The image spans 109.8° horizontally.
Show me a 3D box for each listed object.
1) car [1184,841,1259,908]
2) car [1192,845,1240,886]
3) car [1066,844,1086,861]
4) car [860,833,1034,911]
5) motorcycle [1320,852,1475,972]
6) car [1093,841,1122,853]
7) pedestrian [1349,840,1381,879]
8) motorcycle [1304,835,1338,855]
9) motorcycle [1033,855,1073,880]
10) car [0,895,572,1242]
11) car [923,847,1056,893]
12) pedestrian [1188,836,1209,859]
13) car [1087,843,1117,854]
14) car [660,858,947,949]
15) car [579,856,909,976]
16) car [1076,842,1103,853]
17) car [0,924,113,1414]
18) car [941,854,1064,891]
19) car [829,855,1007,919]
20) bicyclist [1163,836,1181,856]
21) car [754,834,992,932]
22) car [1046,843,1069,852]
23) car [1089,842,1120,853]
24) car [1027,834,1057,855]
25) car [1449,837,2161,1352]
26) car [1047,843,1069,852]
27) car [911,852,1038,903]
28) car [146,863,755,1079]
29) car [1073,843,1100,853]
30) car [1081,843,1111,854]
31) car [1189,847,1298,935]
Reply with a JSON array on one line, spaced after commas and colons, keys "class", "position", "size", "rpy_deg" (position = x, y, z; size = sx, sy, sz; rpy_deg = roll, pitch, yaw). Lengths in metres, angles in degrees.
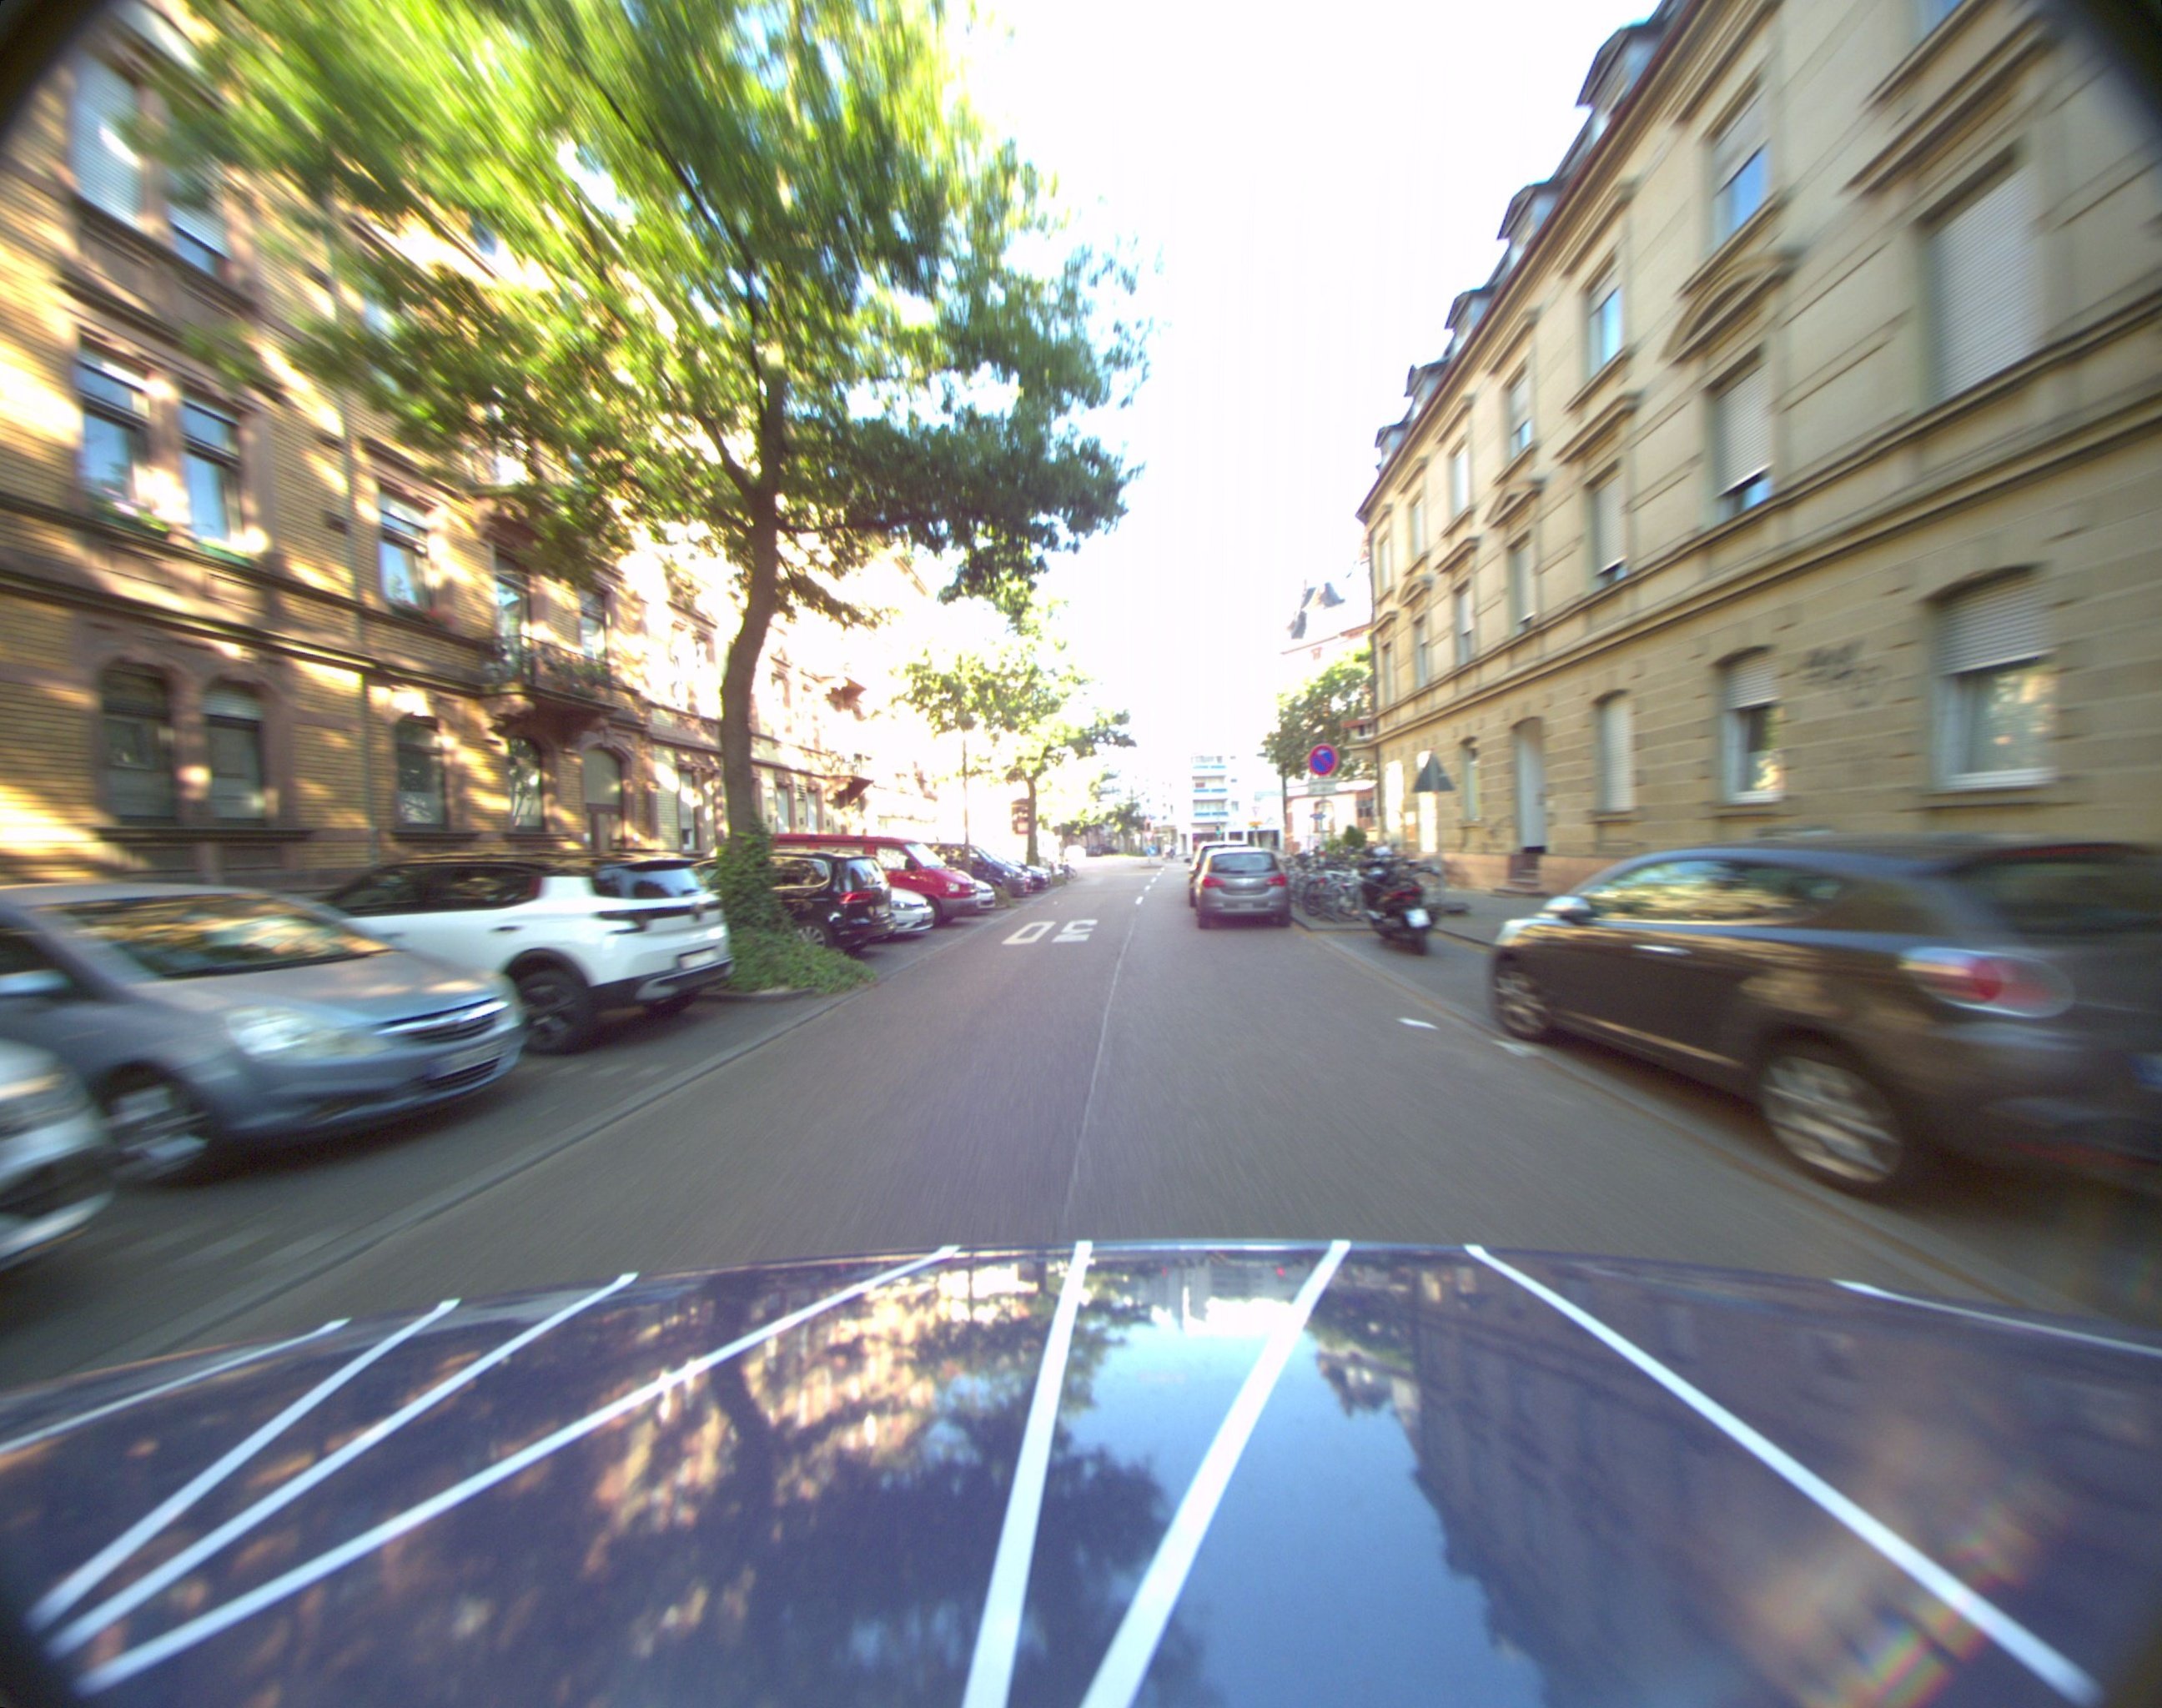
[{"class": "car", "position": [3.765, 0.478, 20.768], "size": [1.762, 1.591, 4.553], "rpy_deg": [-2, 1, 9]}, {"class": "car", "position": [5.488, 0.415, 30.932], "size": [1.761, 1.479, 4.141], "rpy_deg": [-2, 1, 10]}, {"class": "car", "position": [-0.547, -0.203, 85.337], "size": [1.999, 1.740, 3.998], "rpy_deg": [-3, 1, -2]}, {"class": "car", "position": [-4.191, 0.545, 24.294], "size": [5.032, 2.202, 1.993], "rpy_deg": [-3, 1, 5]}, {"class": "motorcycle", "position": [4.214, 0.695, 10.425], "size": [1.068, 1.362, 2.606], "rpy_deg": [-3, 1, 2]}, {"class": "car", "position": [4.072, -1.071, 115.878], "size": [4.002, 1.576, 1.997], "rpy_deg": [-3, 1, -16]}, {"class": "pedestrian", "position": [9.407, 0.174, 25.187], "size": [0.727, 1.252, 0.757], "rpy_deg": [-3, 1, 2]}, {"class": "motorcycle", "position": [16.806, -0.632, 53.173], "size": [2.112, 1.258, 0.841], "rpy_deg": [-3, 1, -20]}, {"class": "motorcycle", "position": [-1.406, 0.667, 37.809], "size": [1.902, 1.227, 0.686], "rpy_deg": [0, 1, 5]}, {"class": "car", "position": [-5.612, 1.039, 4.541], "size": [4.018, 1.426, 1.795], "rpy_deg": [0, 1, 6]}, {"class": "car", "position": [-3.517, 0.620, 29.442], "size": [4.694, 1.669, 1.853], "rpy_deg": [-1, 2, 14]}, {"class": "pedestrian", "position": [9.001, -0.486, 58.044], "size": [1.175, 1.670, 1.005], "rpy_deg": [-3, 1, -25]}, {"class": "car", "position": [3.297, -0.912, 120.854], "size": [4.307, 1.576, 1.997], "rpy_deg": [-3, 1, -16]}, {"class": "car", "position": [-5.077, 0.883, 14.262], "size": [4.684, 1.506, 1.879], "rpy_deg": [-1, 1, 6]}, {"class": "car", "position": [-4.978, 0.885, 11.599], "size": [4.195, 1.618, 1.837], "rpy_deg": [-1, 1, 4]}, {"class": "car", "position": [1.516, -1.140, 132.501], "size": [4.306, 1.576, 1.997], "rpy_deg": [-3, 1, -14]}, {"class": "car", "position": [-5.710, 1.017, 2.000], "size": [4.353, 1.547, 1.851], "rpy_deg": [0, 0, 6]}, {"class": "car", "position": [-3.250, 0.772, 31.845], "size": [4.795, 1.405, 1.852], "rpy_deg": [-1, 2, 7]}, {"class": "car", "position": [-4.094, 0.823, 19.531], "size": [4.063, 1.502, 1.879], "rpy_deg": [-1, 1, 4]}, {"class": "bicyclist", "position": [7.219, -0.647, 60.258], "size": [1.082, 1.544, 0.633], "rpy_deg": [-5, 1, -25]}, {"class": "car", "position": [-4.489, 0.604, 16.845], "size": [4.685, 2.022, 1.879], "rpy_deg": [-1, 1, 5]}, {"class": "car", "position": [-5.001, -1.373, 161.516], "size": [4.306, 1.576, 1.997], "rpy_deg": [-3, 1, -14]}, {"class": "car", "position": [3.612, -0.994, 118.281], "size": [4.307, 1.576, 1.997], "rpy_deg": [-3, 1, -16]}, {"class": "car", "position": [-6.284, -1.469, 121.656], "size": [3.327, 3.161, 8.073], "rpy_deg": [-3, 1, -13]}, {"class": "car", "position": [3.888, 0.722, 4.328], "size": [1.762, 1.492, 4.060], "rpy_deg": [-4, 0, 4]}, {"class": "car", "position": [-4.736, -1.338, 156.489], "size": [4.306, 1.576, 1.997], "rpy_deg": [-3, 1, -14]}, {"class": "car", "position": [-3.725, 0.815, 27.080], "size": [4.114, 1.526, 1.725], "rpy_deg": [-3, 1, 5]}, {"class": "car", "position": [-5.373, 0.939, 6.871], "size": [4.019, 1.618, 1.805], "rpy_deg": [-1, 1, 3]}, {"class": "car", "position": [0.961, -1.140, 134.847], "size": [4.306, 1.576, 1.997], "rpy_deg": [-3, 1, -14]}, {"class": "car", "position": [2.409, -0.965, 123.125], "size": [4.307, 1.576, 1.997], "rpy_deg": [-3, 1, -16]}, {"class": "car", "position": [3.151, 0.641, 15.422], "size": [1.762, 1.492, 4.061], "rpy_deg": [-2, 1, 7]}]
